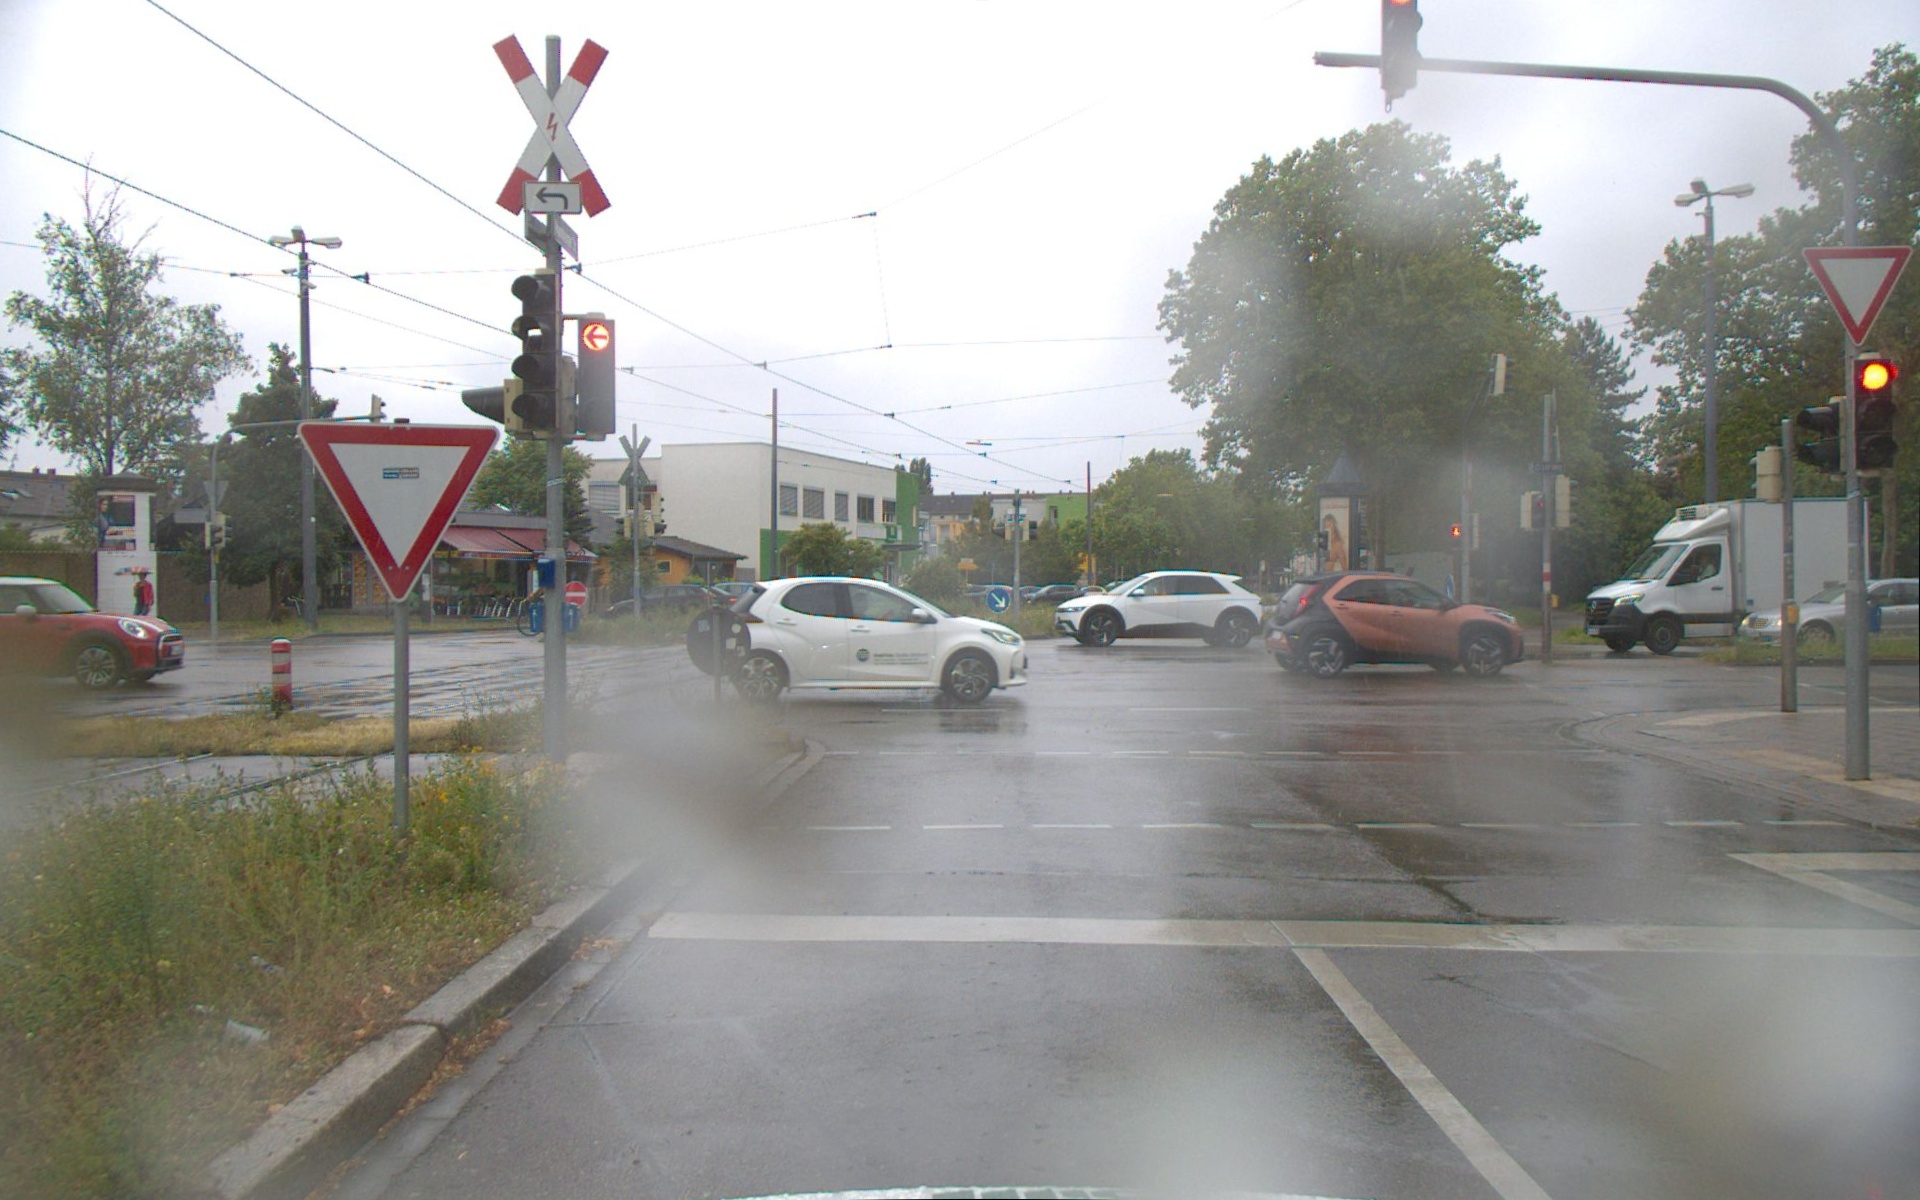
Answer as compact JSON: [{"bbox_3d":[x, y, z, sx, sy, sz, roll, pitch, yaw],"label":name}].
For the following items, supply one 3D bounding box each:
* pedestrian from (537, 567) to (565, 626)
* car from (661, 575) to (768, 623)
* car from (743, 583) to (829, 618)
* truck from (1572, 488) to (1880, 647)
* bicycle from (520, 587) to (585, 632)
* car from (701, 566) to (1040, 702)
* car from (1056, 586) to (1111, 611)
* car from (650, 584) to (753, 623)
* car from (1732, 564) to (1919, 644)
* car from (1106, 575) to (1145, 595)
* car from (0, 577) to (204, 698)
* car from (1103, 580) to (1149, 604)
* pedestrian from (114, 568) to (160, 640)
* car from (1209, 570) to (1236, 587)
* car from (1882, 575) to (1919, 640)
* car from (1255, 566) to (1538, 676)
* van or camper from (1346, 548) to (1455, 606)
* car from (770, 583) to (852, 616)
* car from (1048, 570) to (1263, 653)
[{"bbox_3d":[-10.441,-0.093,42.221,0.563,1.501,0.500,-1,0,4],"label":"pedestrian"},{"bbox_3d":[-10.042,-0.044,67.779,4.047,1.892,1.674,-1,0,5],"label":"car"},{"bbox_3d":[-7.667,0.007,72.783,3.679,1.467,1.760,-1,0,-8],"label":"car"},{"bbox_3d":[15.391,-0.648,33.411,5.359,3.112,1.980,0,0,-3],"label":"truck"},{"bbox_3d":[-10.396,0.247,42.215,1.529,1.121,0.500,-1,0,4],"label":"bicycle"},{"bbox_3d":[-1.123,0.390,20.350,3.988,1.525,1.649,-1,0,-8],"label":"car"},{"bbox_3d":[9.707,-0.143,129.771,4.055,1.892,1.671,-1,0,-6],"label":"car"},{"bbox_3d":[-10.033,0.131,64.322,3.672,1.467,1.763,-1,0,2],"label":"car"},{"bbox_3d":[16.752,0.067,30.370,4.422,1.414,1.643,0,0,-3],"label":"car"},{"bbox_3d":[17.373,-1.601,173.740,3.902,2.049,1.836,-1,0,13],"label":"car"},{"bbox_3d":[-12.411,0.474,22.138,3.836,1.525,1.648,0,1,-11],"label":"car"},{"bbox_3d":[14.814,-0.699,147.721,4.047,2.010,1.674,-1,0,5],"label":"car"},{"bbox_3d":[-20.827,0.108,41.861,0.893,1.794,0.797,-1,0,44],"label":"pedestrian"},{"bbox_3d":[34.199,-2.796,215.442,3.370,2.049,1.809,-1,0,16],"label":"car"},{"bbox_3d":[23.547,0.151,37.716,4.116,1.447,1.765,0,0,-3],"label":"car"},{"bbox_3d":[6.481,0.296,24.740,3.745,1.525,1.649,-1,0,-7],"label":"car"},{"bbox_3d":[22.098,-1.179,82.965,5.111,2.744,2.244,2,1,17],"label":"van or camper"},{"bbox_3d":[-6.876,-0.027,76.085,3.679,1.467,1.760,-1,0,-8],"label":"car"},{"bbox_3d":[4.231,0.234,36.087,4.376,1.685,1.649,-1,0,-7],"label":"car"}]
